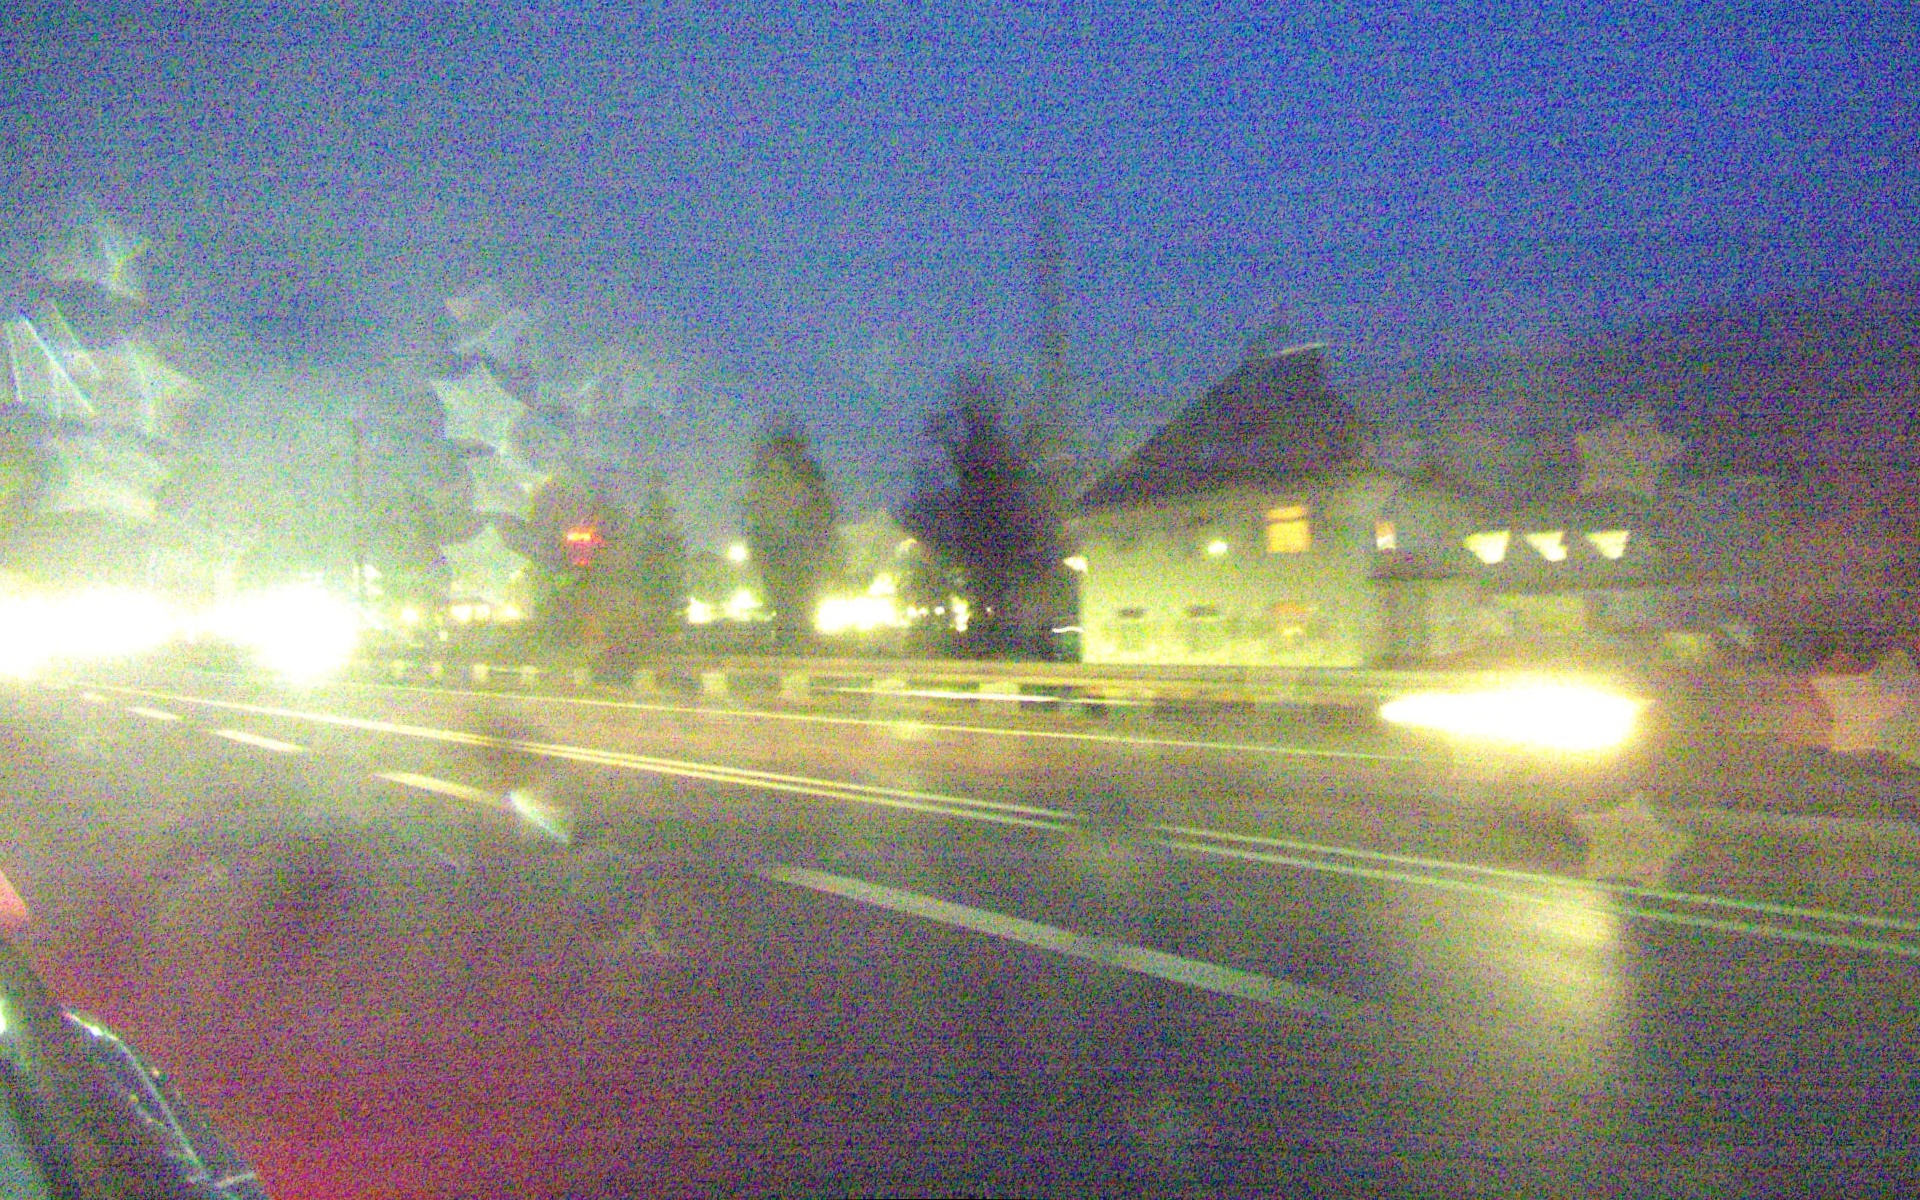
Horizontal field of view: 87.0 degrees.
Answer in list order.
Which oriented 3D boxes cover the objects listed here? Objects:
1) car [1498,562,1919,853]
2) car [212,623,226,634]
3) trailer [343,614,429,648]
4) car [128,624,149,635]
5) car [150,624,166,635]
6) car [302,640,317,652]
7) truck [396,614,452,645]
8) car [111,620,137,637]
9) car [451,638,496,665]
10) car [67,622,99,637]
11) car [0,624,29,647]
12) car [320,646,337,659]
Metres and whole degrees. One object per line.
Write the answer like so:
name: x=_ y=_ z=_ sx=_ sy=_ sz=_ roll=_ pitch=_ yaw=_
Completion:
car: x=5.744 y=0.587 z=6.436 sx=3.891 sy=1.612 sz=1.865 roll=-1 pitch=0 yaw=36
car: x=-152.179 y=5.793 z=207.774 sx=1.763 sy=1.634 sz=4.392 roll=0 pitch=5 yaw=-28
trailer: x=-90.457 y=4.791 z=159.655 sx=3.332 sy=4.832 sz=11.415 roll=-1 pitch=0 yaw=36
car: x=-121.194 y=4.387 z=149.396 sx=1.774 sy=1.531 sz=4.549 roll=0 pitch=-1 yaw=-31
car: x=-130.039 y=4.712 z=164.097 sx=1.664 sy=1.693 sz=3.478 roll=0 pitch=0 yaw=-30
car: x=-101.750 y=7.167 z=158.371 sx=1.783 sy=1.688 sz=4.306 roll=-1 pitch=0 yaw=-30
truck: x=-86.989 y=4.722 z=164.367 sx=3.332 sy=4.832 sz=7.230 roll=-1 pitch=0 yaw=36
car: x=-112.462 y=3.794 z=136.213 sx=1.966 sy=2.090 sz=4.012 roll=-1 pitch=0 yaw=-29
car: x=-39.476 y=4.157 z=82.082 sx=4.000 sy=2.029 sz=1.972 roll=-1 pitch=0 yaw=43
car: x=-97.994 y=3.250 z=113.108 sx=1.966 sy=1.625 sz=4.625 roll=0 pitch=-1 yaw=-32
car: x=-88.063 y=3.282 z=94.141 sx=1.971 sy=2.029 sz=4.002 roll=-1 pitch=0 yaw=-45
car: x=-84.627 y=6.984 z=135.561 sx=1.783 sy=1.582 sz=4.304 roll=-1 pitch=0 yaw=-33
